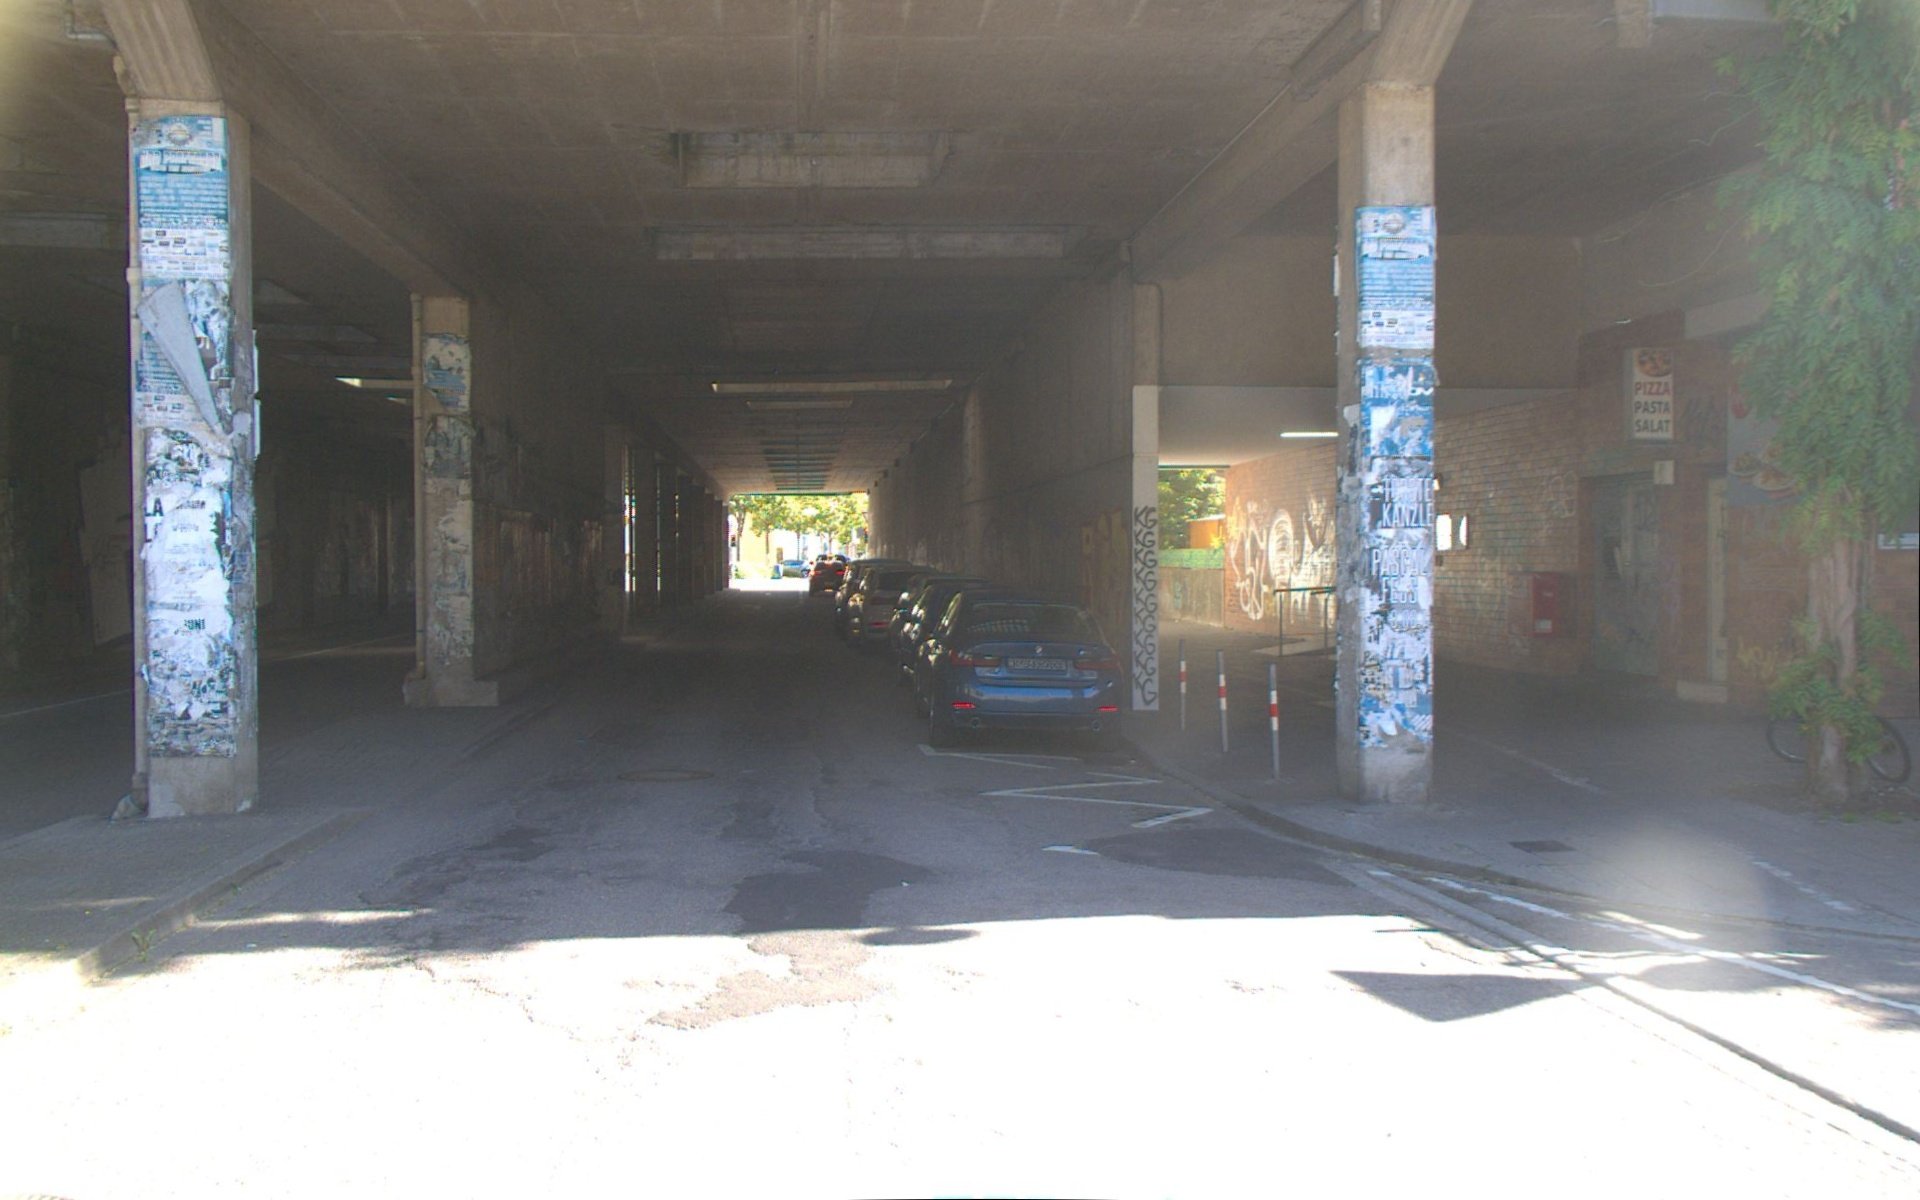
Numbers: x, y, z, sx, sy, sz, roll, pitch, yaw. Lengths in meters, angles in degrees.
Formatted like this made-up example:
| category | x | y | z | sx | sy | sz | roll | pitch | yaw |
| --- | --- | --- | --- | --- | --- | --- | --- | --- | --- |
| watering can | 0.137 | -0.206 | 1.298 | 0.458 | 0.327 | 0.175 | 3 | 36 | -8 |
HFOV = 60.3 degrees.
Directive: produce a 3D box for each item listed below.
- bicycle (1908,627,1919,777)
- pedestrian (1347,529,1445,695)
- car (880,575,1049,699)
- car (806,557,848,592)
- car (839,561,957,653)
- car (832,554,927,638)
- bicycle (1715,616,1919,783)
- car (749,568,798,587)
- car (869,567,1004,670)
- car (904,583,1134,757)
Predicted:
| category | x | y | z | sx | sy | sz | roll | pitch | yaw |
| --- | --- | --- | --- | --- | --- | --- | --- | --- | --- |
| bicycle | 7.092 | 0.726 | 10.792 | 0.409 | 1.018 | 1.602 | -3 | 3 | -28 |
| pedestrian | 4.684 | 0.110 | 17.810 | 0.779 | 1.728 | 0.757 | 0 | 3 | -7 |
| car | -0.034 | 0.407 | 21.595 | 1.728 | 1.435 | 4.057 | -1 | 1 | -7 |
| car | -5.946 | -1.165 | 73.765 | 1.790 | 1.527 | 4.207 | -1 | 2 | -5 |
| car | -1.216 | 0.081 | 30.614 | 1.698 | 1.573 | 4.147 | -1 | 1 | -9 |
| car | -1.817 | -0.144 | 36.169 | 1.817 | 1.695 | 4.366 | 0 | 2 | -6 |
| bicycle | 6.194 | 0.661 | 11.782 | 0.475 | 1.018 | 1.796 | -2 | 2 | -14 |
| car | -15.327 | -1.850 | 135.999 | 3.906 | 1.601 | 1.639 | 0 | 1 | -2 |
| car | -0.435 | 0.238 | 26.375 | 1.574 | 1.513 | 3.629 | -1 | 1 | -10 |
| car | 0.440 | 0.590 | 16.695 | 1.815 | 1.458 | 4.603 | 1 | 1 | -4 |
